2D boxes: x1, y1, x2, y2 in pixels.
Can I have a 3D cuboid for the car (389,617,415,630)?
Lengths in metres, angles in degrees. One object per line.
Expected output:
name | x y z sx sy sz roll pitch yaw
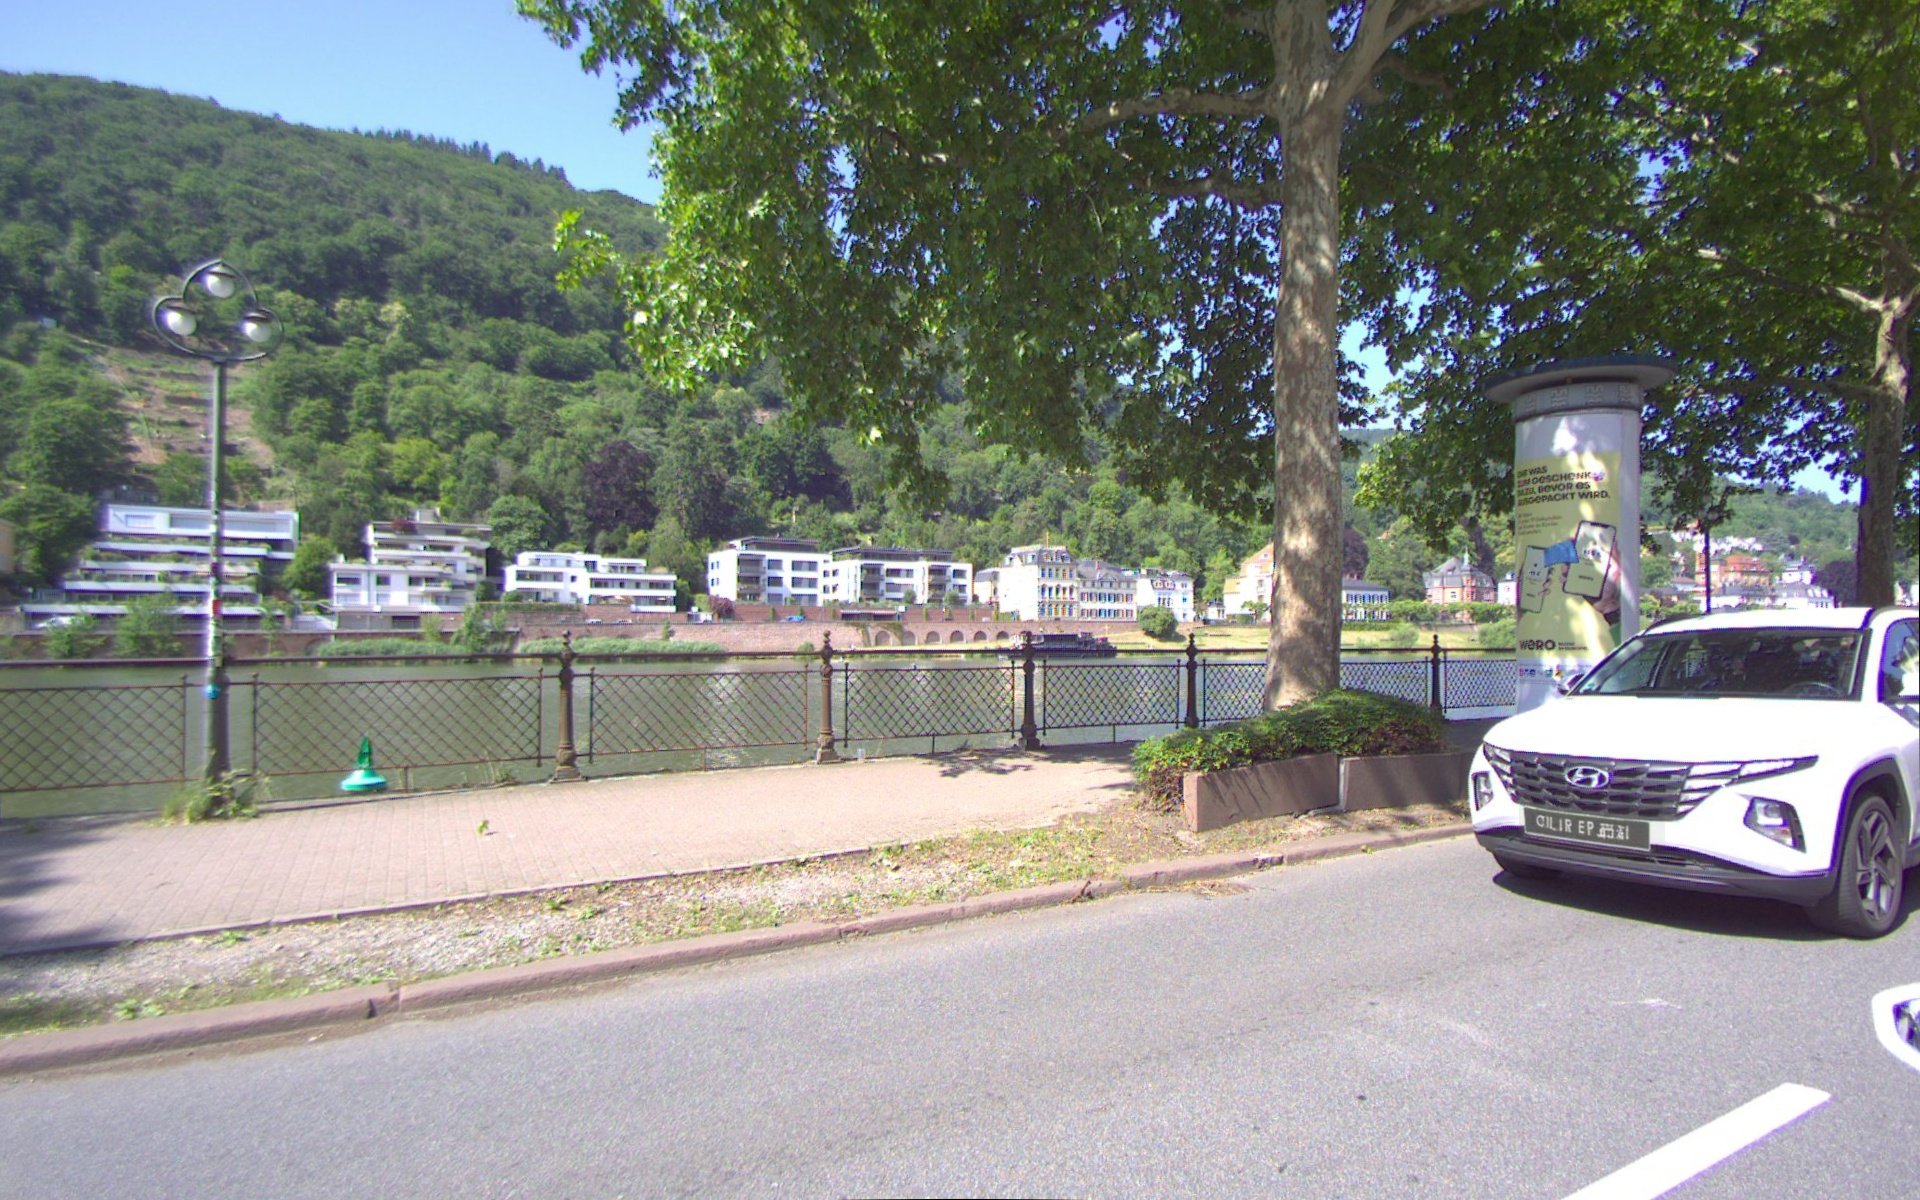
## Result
car | -94.728 3.991 170.503 3.953 2.040 1.984 0 0 -30

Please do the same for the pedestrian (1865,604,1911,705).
pedestrian | 17.808 1.033 19.282 0.431 1.912 0.531 1 0 -30

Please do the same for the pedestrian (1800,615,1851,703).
pedestrian | 17.236 1.161 20.013 0.577 1.708 0.598 1 -2 -31

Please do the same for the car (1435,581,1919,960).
car | 5.017 0.853 6.270 3.954 1.681 1.761 1 -5 -31
